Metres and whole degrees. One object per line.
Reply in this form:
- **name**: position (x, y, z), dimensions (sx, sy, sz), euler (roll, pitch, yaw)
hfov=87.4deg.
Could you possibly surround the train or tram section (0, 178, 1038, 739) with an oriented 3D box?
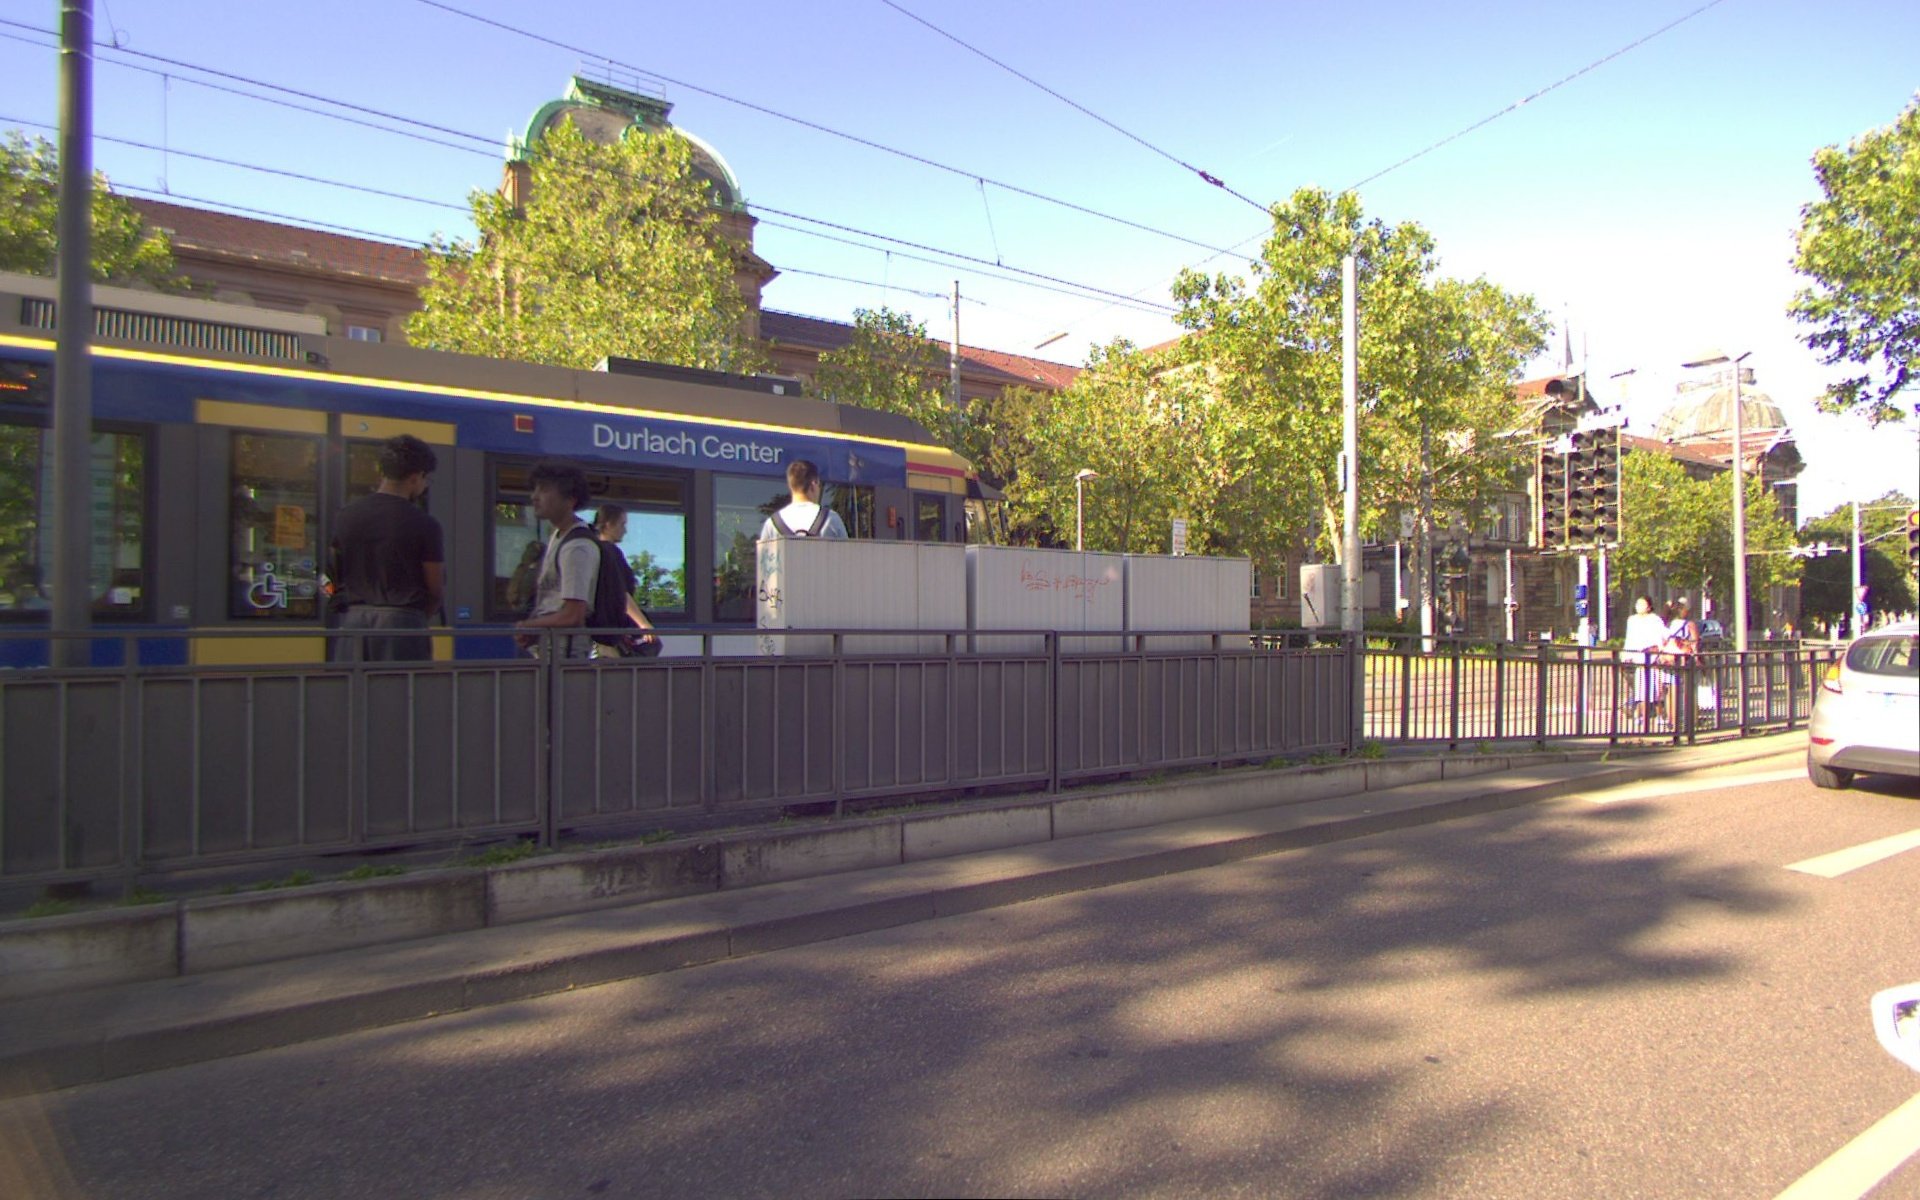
- **train or tram section**: position (-5.456, -0.808, 7.797), dimensions (12.973, 3.303, 2.897), euler (2, 0, -33)

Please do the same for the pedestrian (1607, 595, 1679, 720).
- **pedestrian**: position (9.240, 0.773, 13.587), dimensions (0.635, 1.640, 0.635), euler (4, -3, -36)

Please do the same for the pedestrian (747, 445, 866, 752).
- **pedestrian**: position (-0.944, -0.001, 6.141), dimensions (0.535, 1.757, 0.544), euler (1, -2, -36)

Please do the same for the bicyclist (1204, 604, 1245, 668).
- **bicyclist**: position (5.914, 0.803, 22.423), dimensions (0.643, 1.404, 0.562), euler (2, 0, -33)

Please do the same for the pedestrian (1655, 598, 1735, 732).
- **pedestrian**: position (9.014, 0.779, 12.326), dimensions (0.641, 1.577, 0.626), euler (1, -1, -37)

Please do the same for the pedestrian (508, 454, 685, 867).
- **pedestrian**: position (-1.653, 0.265, 4.614), dimensions (0.538, 1.757, 0.540), euler (-1, -1, 17)

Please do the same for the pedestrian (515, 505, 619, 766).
- **pedestrian**: position (-2.761, 0.243, 7.055), dimensions (0.541, 1.724, 0.604), euler (1, -2, -36)

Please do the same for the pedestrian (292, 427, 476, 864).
- **pedestrian**: position (-2.474, 0.187, 4.367), dimensions (0.540, 1.757, 0.538), euler (0, -1, -13)

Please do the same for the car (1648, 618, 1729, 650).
- **car**: position (38.413, 1.787, 52.960), dimensions (3.952, 1.646, 1.985), euler (1, -1, -29)

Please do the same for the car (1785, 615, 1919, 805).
- **car**: position (8.783, 0.871, 8.542), dimensions (3.591, 1.428, 1.652), euler (1, -1, -32)

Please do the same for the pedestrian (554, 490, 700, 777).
- **pedestrian**: position (-2.160, 0.212, 6.508), dimensions (0.740, 1.724, 0.628), euler (1, -2, -37)

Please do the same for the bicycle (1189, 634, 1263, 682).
- **bicycle**: position (5.916, 1.276, 22.401), dimensions (0.643, 0.976, 1.554), euler (2, 0, -32)
